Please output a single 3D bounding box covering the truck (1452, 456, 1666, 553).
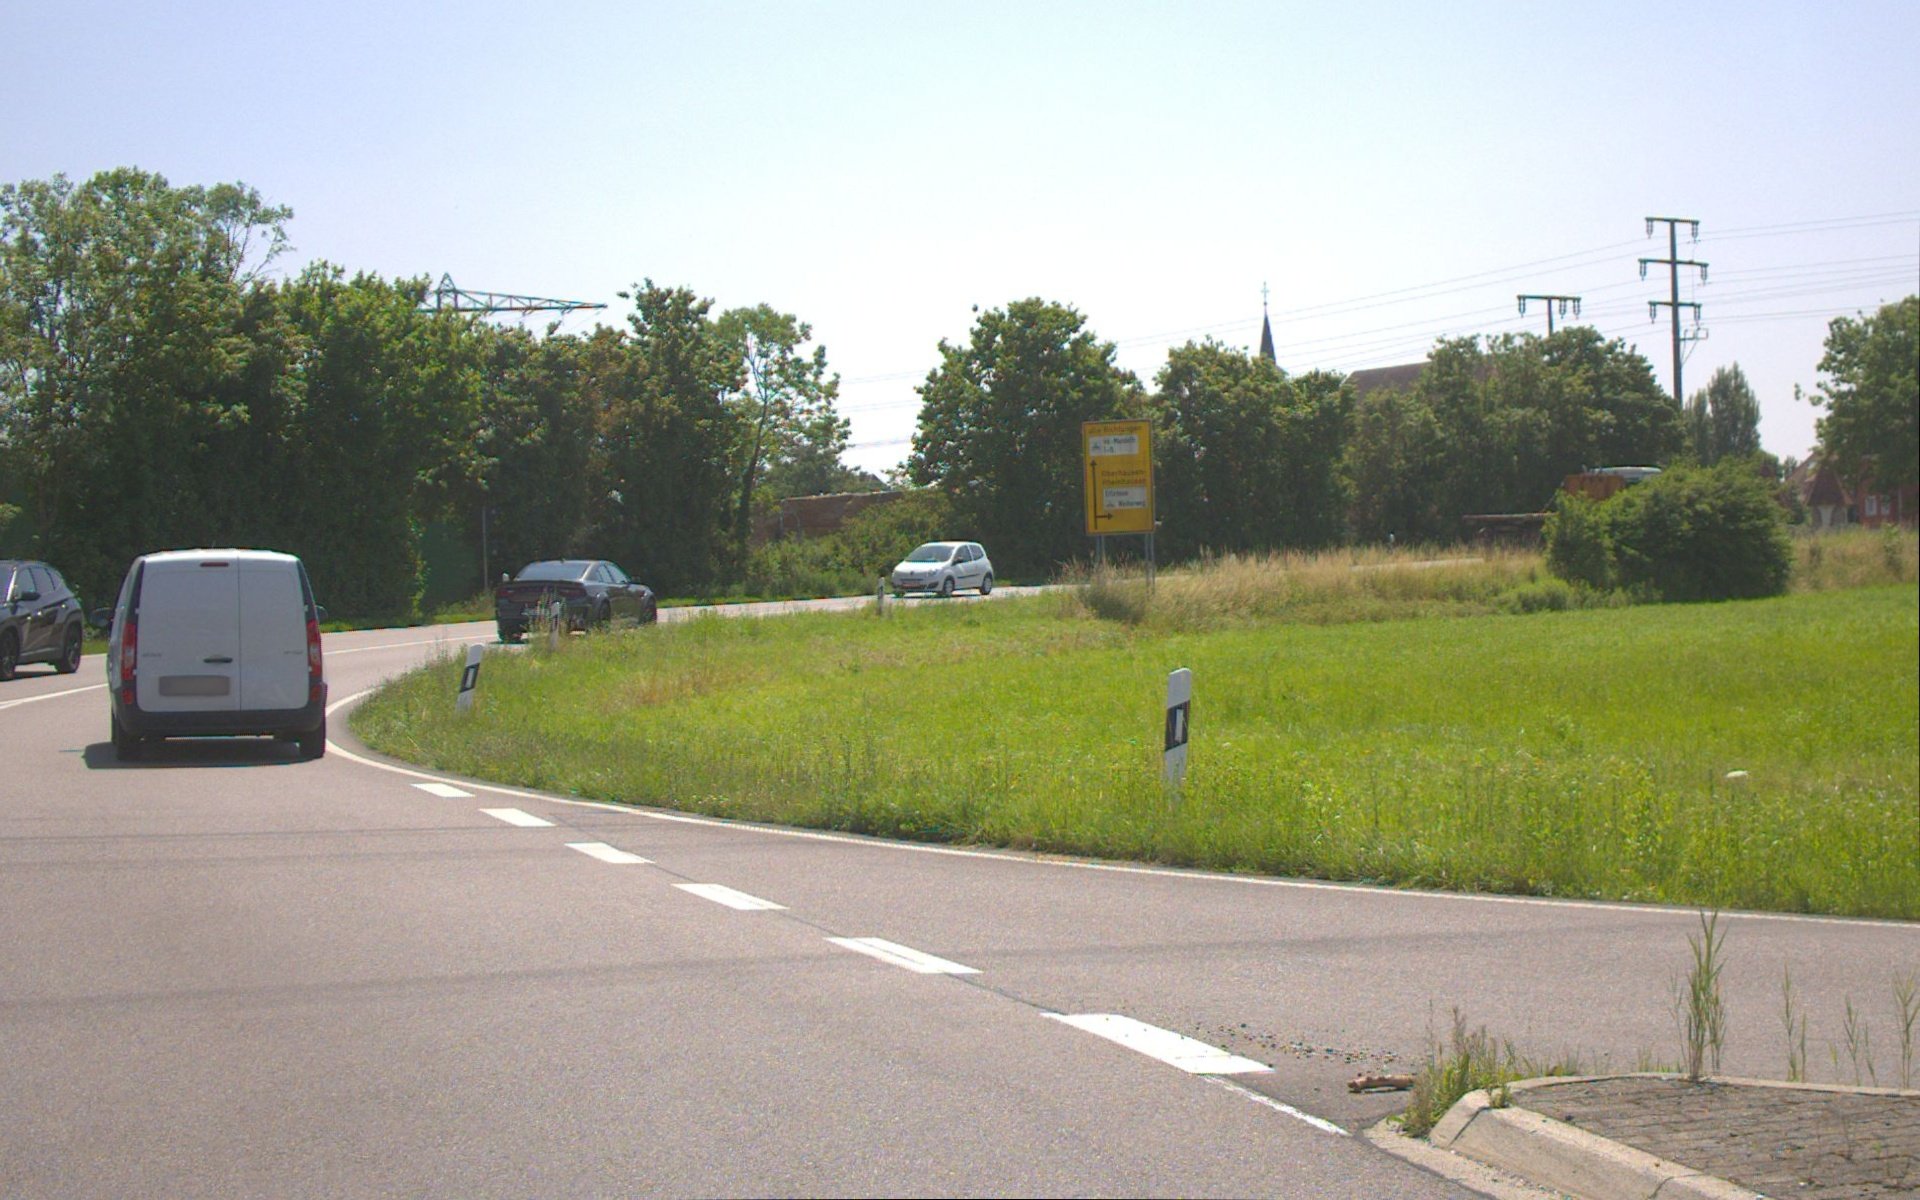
[{"bbox_3d":[20.606,-3.214,117.825,3.106,3.126,8.782,0,0,41],"label":"truck"}]

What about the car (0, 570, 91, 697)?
[{"bbox_3d":[-13.459,0.429,47.285,1.702,1.632,4.249,0,1,4],"label":"car"}]

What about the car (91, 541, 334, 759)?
[{"bbox_3d":[-6.586,0.414,30.245,1.903,1.726,3.823,-2,0,-13],"label":"car"}]

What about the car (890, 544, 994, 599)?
[{"bbox_3d":[-0.463,-0.776,93.880,1.538,1.438,3.603,1,1,22],"label":"car"}]

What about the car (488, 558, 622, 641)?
[{"bbox_3d":[-7.418,-0.021,63.286,1.719,1.415,3.744,-2,0,4],"label":"car"}]
